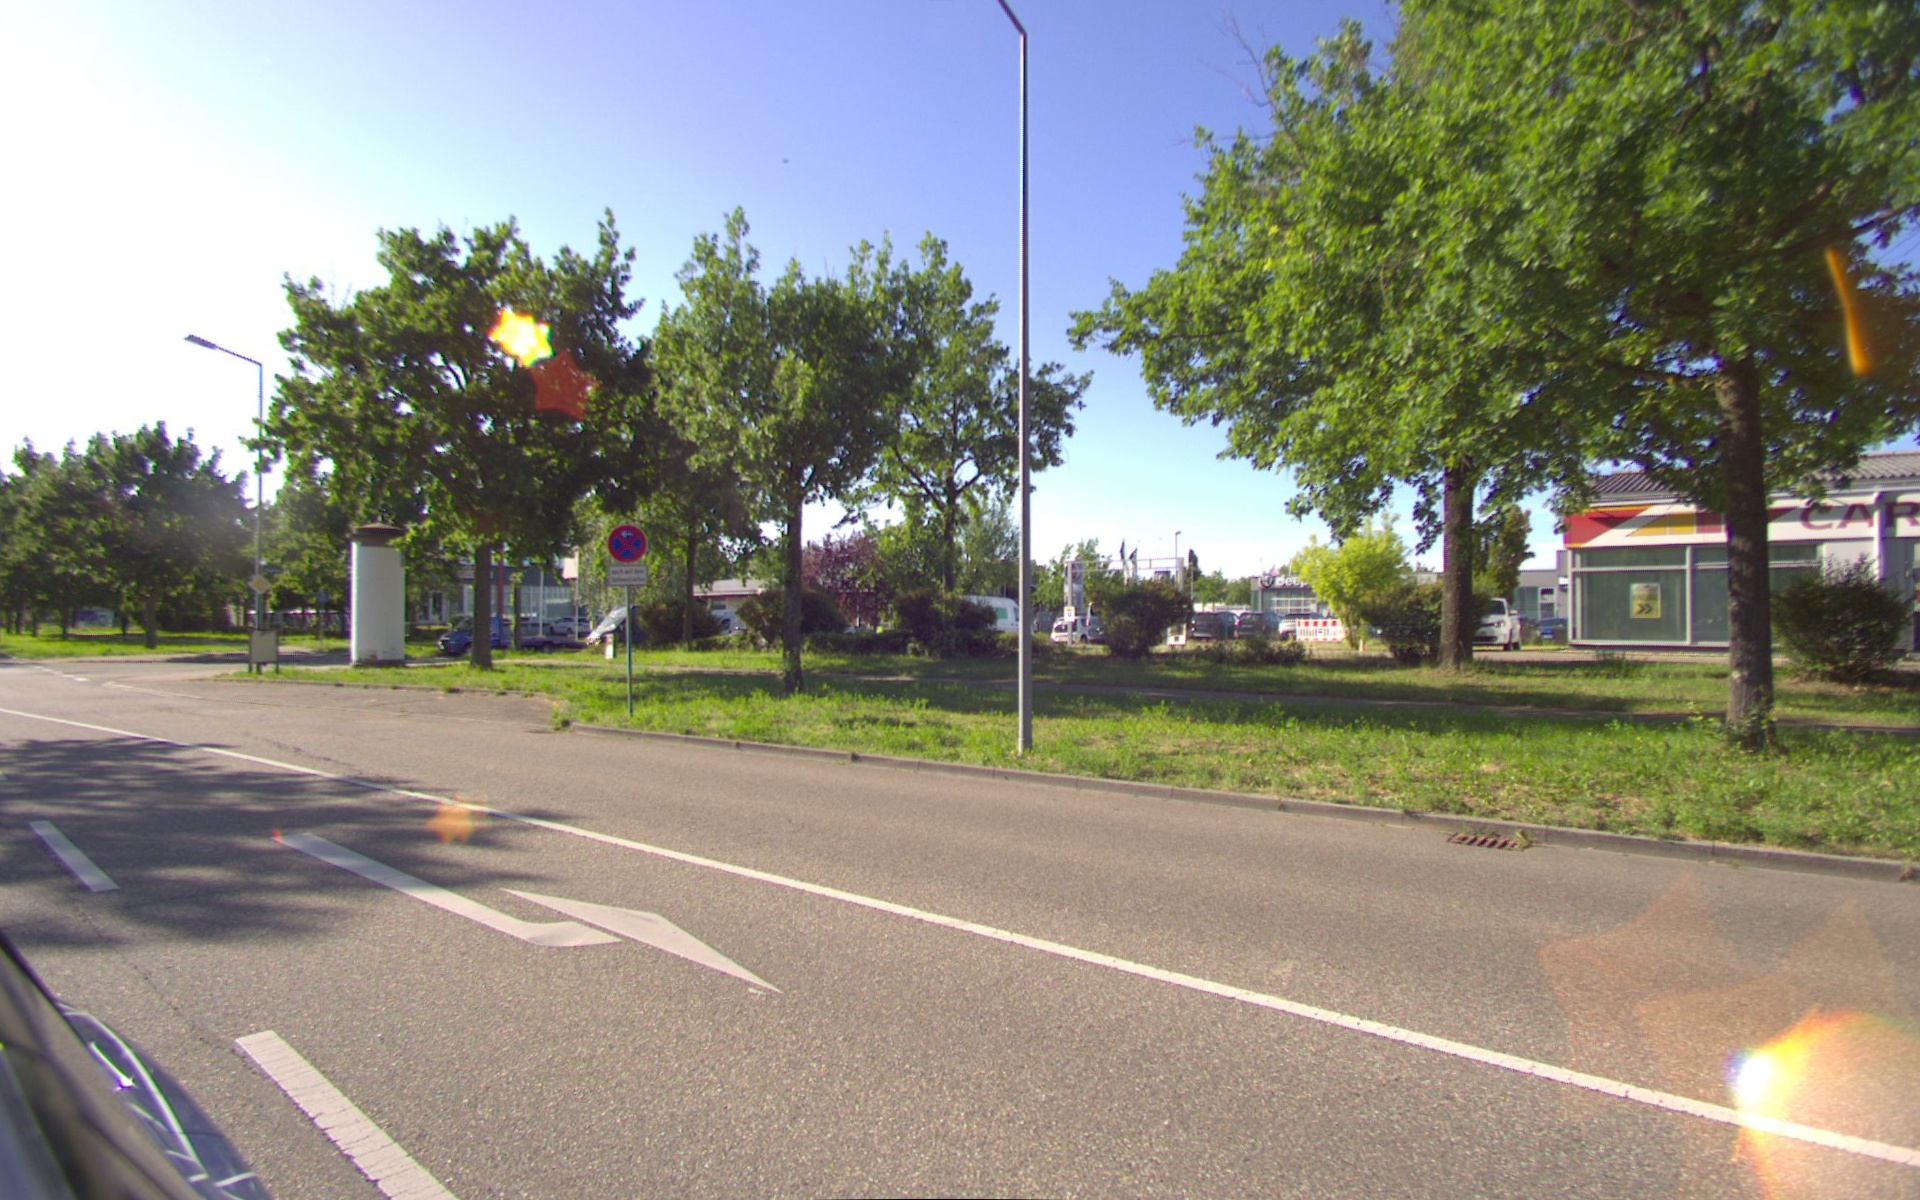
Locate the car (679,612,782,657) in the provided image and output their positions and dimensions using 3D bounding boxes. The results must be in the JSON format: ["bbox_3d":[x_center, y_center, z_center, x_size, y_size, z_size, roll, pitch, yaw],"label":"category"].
[{"bbox_3d":[-14.238,2.074,63.120,2.297,2.535,6.280,0,0,37],"label":"car"}]

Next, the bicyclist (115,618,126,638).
[{"bbox_3d":[-67.588,2.249,81.480,0.659,1.641,0.657,-1,0,43],"label":"bicyclist"}]

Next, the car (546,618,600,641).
[{"bbox_3d":[-28.817,2.181,75.306,4.296,1.505,1.973,2,1,40],"label":"car"}]

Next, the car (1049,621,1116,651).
[{"bbox_3d":[5.781,1.680,47.624,1.572,1.312,3.489,-1,-1,38],"label":"car"}]

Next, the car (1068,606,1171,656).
[{"bbox_3d":[7.190,1.371,45.135,2.297,2.085,5.359,-1,-2,37],"label":"car"}]

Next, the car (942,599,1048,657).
[{"bbox_3d":[1.859,1.334,51.176,2.297,2.723,6.102,0,0,37],"label":"car"}]

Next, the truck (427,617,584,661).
[{"bbox_3d":[-22.903,1.961,51.363,2.138,2.065,7.043,0,-2,38],"label":"truck"}]

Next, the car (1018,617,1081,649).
[{"bbox_3d":[5.488,1.988,61.540,1.882,1.899,4.199,-1,-2,37],"label":"car"}]

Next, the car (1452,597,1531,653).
[{"bbox_3d":[15.584,0.715,29.611,1.590,1.509,3.564,0,-1,36],"label":"car"}]

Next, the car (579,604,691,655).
[{"bbox_3d":[-18.332,1.597,57.432,2.297,2.723,5.807,0,0,37],"label":"car"}]

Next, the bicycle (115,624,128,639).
[{"bbox_3d":[-67.589,2.557,81.576,2.334,1.170,0.545,0,0,43],"label":"bicycle"}]

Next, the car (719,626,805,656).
[{"bbox_3d":[-10.088,2.100,51.762,1.822,1.493,4.151,-3,-3,37],"label":"car"}]
